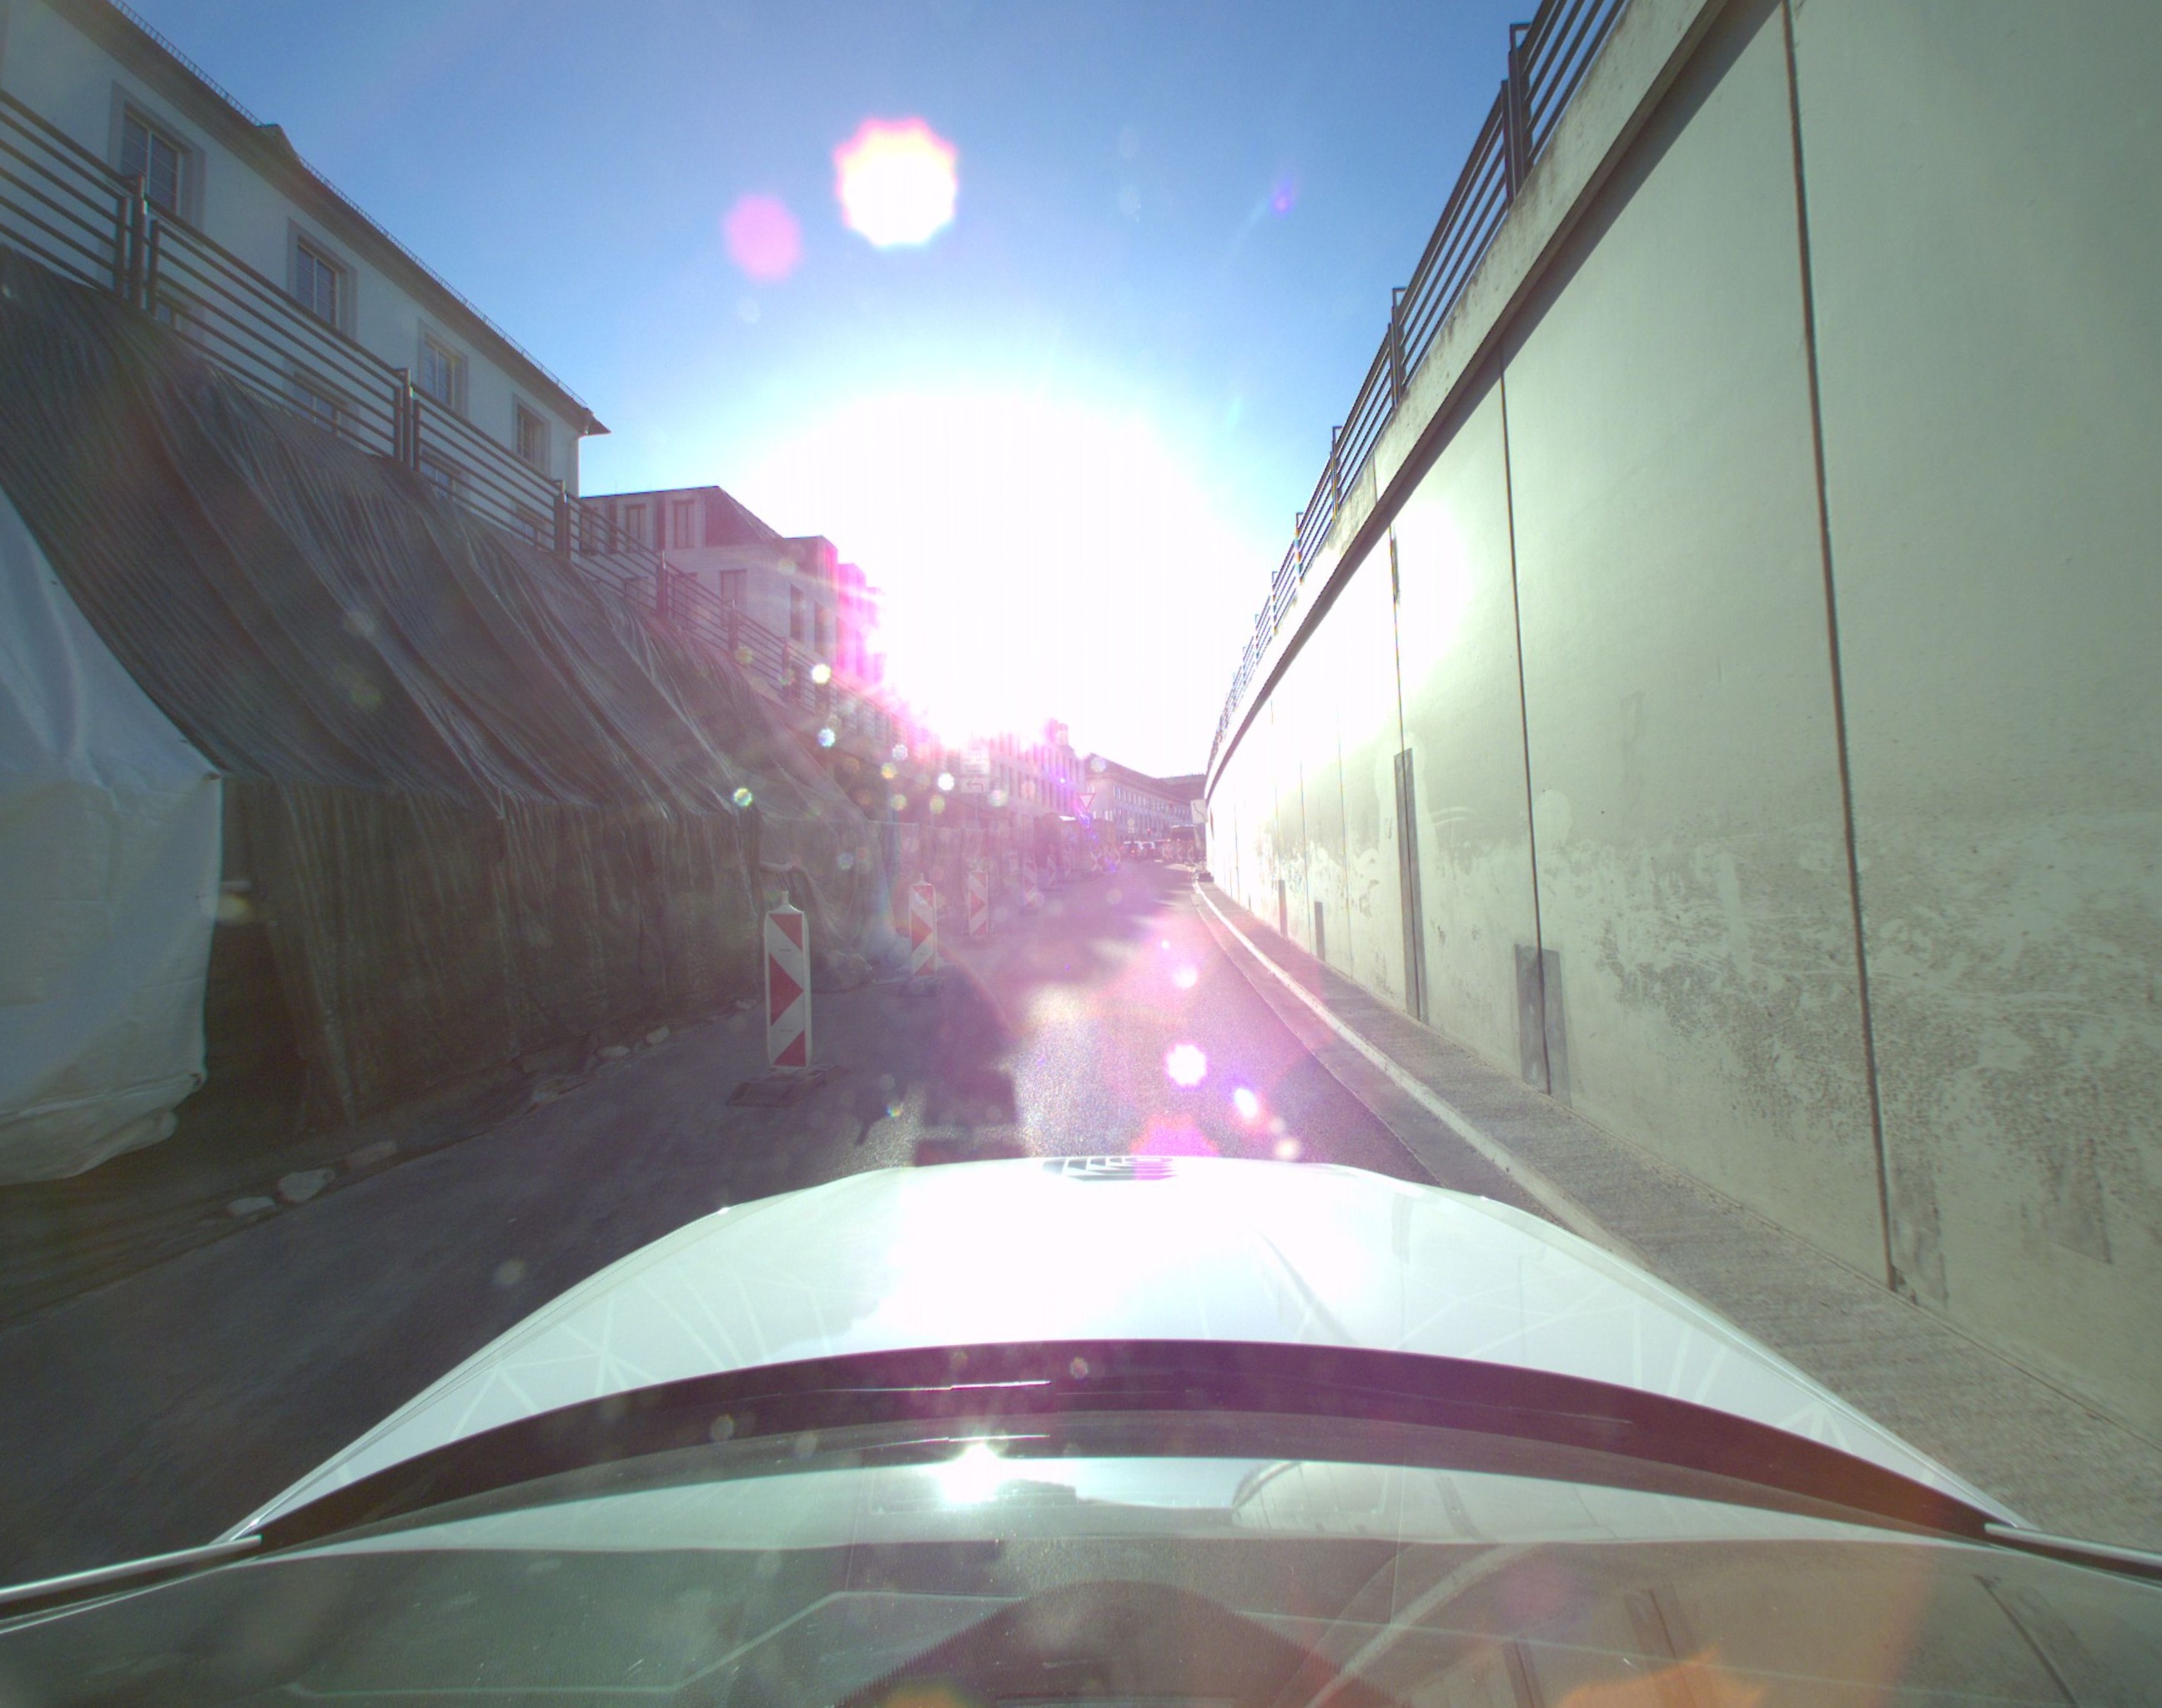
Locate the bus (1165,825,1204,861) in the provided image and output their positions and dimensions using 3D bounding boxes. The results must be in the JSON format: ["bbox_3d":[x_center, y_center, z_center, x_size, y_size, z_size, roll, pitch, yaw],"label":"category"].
[{"bbox_3d":[7.712,-0.782,60.246,2.208,2.557,4.445,-1,0,15],"label":"bus"}]

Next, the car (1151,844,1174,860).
[{"bbox_3d":[7.864,-0.162,78.542,1.845,1.534,4.011,-1,0,10],"label":"car"}]

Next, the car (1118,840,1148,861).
[{"bbox_3d":[4.084,-0.246,63.479,1.764,1.604,4.013,-1,0,12],"label":"car"}]

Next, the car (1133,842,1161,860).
[{"bbox_3d":[5.669,-0.237,69.792,1.808,1.534,4.014,-1,0,13],"label":"car"}]

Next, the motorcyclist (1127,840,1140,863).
[{"bbox_3d":[3.646,-0.184,56.714,0.799,1.504,0.778,-2,-3,9],"label":"motorcyclist"}]

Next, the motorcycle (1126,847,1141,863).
[{"bbox_3d":[3.663,0.067,56.736,0.766,0.993,2.189,-2,-3,10],"label":"motorcycle"}]
